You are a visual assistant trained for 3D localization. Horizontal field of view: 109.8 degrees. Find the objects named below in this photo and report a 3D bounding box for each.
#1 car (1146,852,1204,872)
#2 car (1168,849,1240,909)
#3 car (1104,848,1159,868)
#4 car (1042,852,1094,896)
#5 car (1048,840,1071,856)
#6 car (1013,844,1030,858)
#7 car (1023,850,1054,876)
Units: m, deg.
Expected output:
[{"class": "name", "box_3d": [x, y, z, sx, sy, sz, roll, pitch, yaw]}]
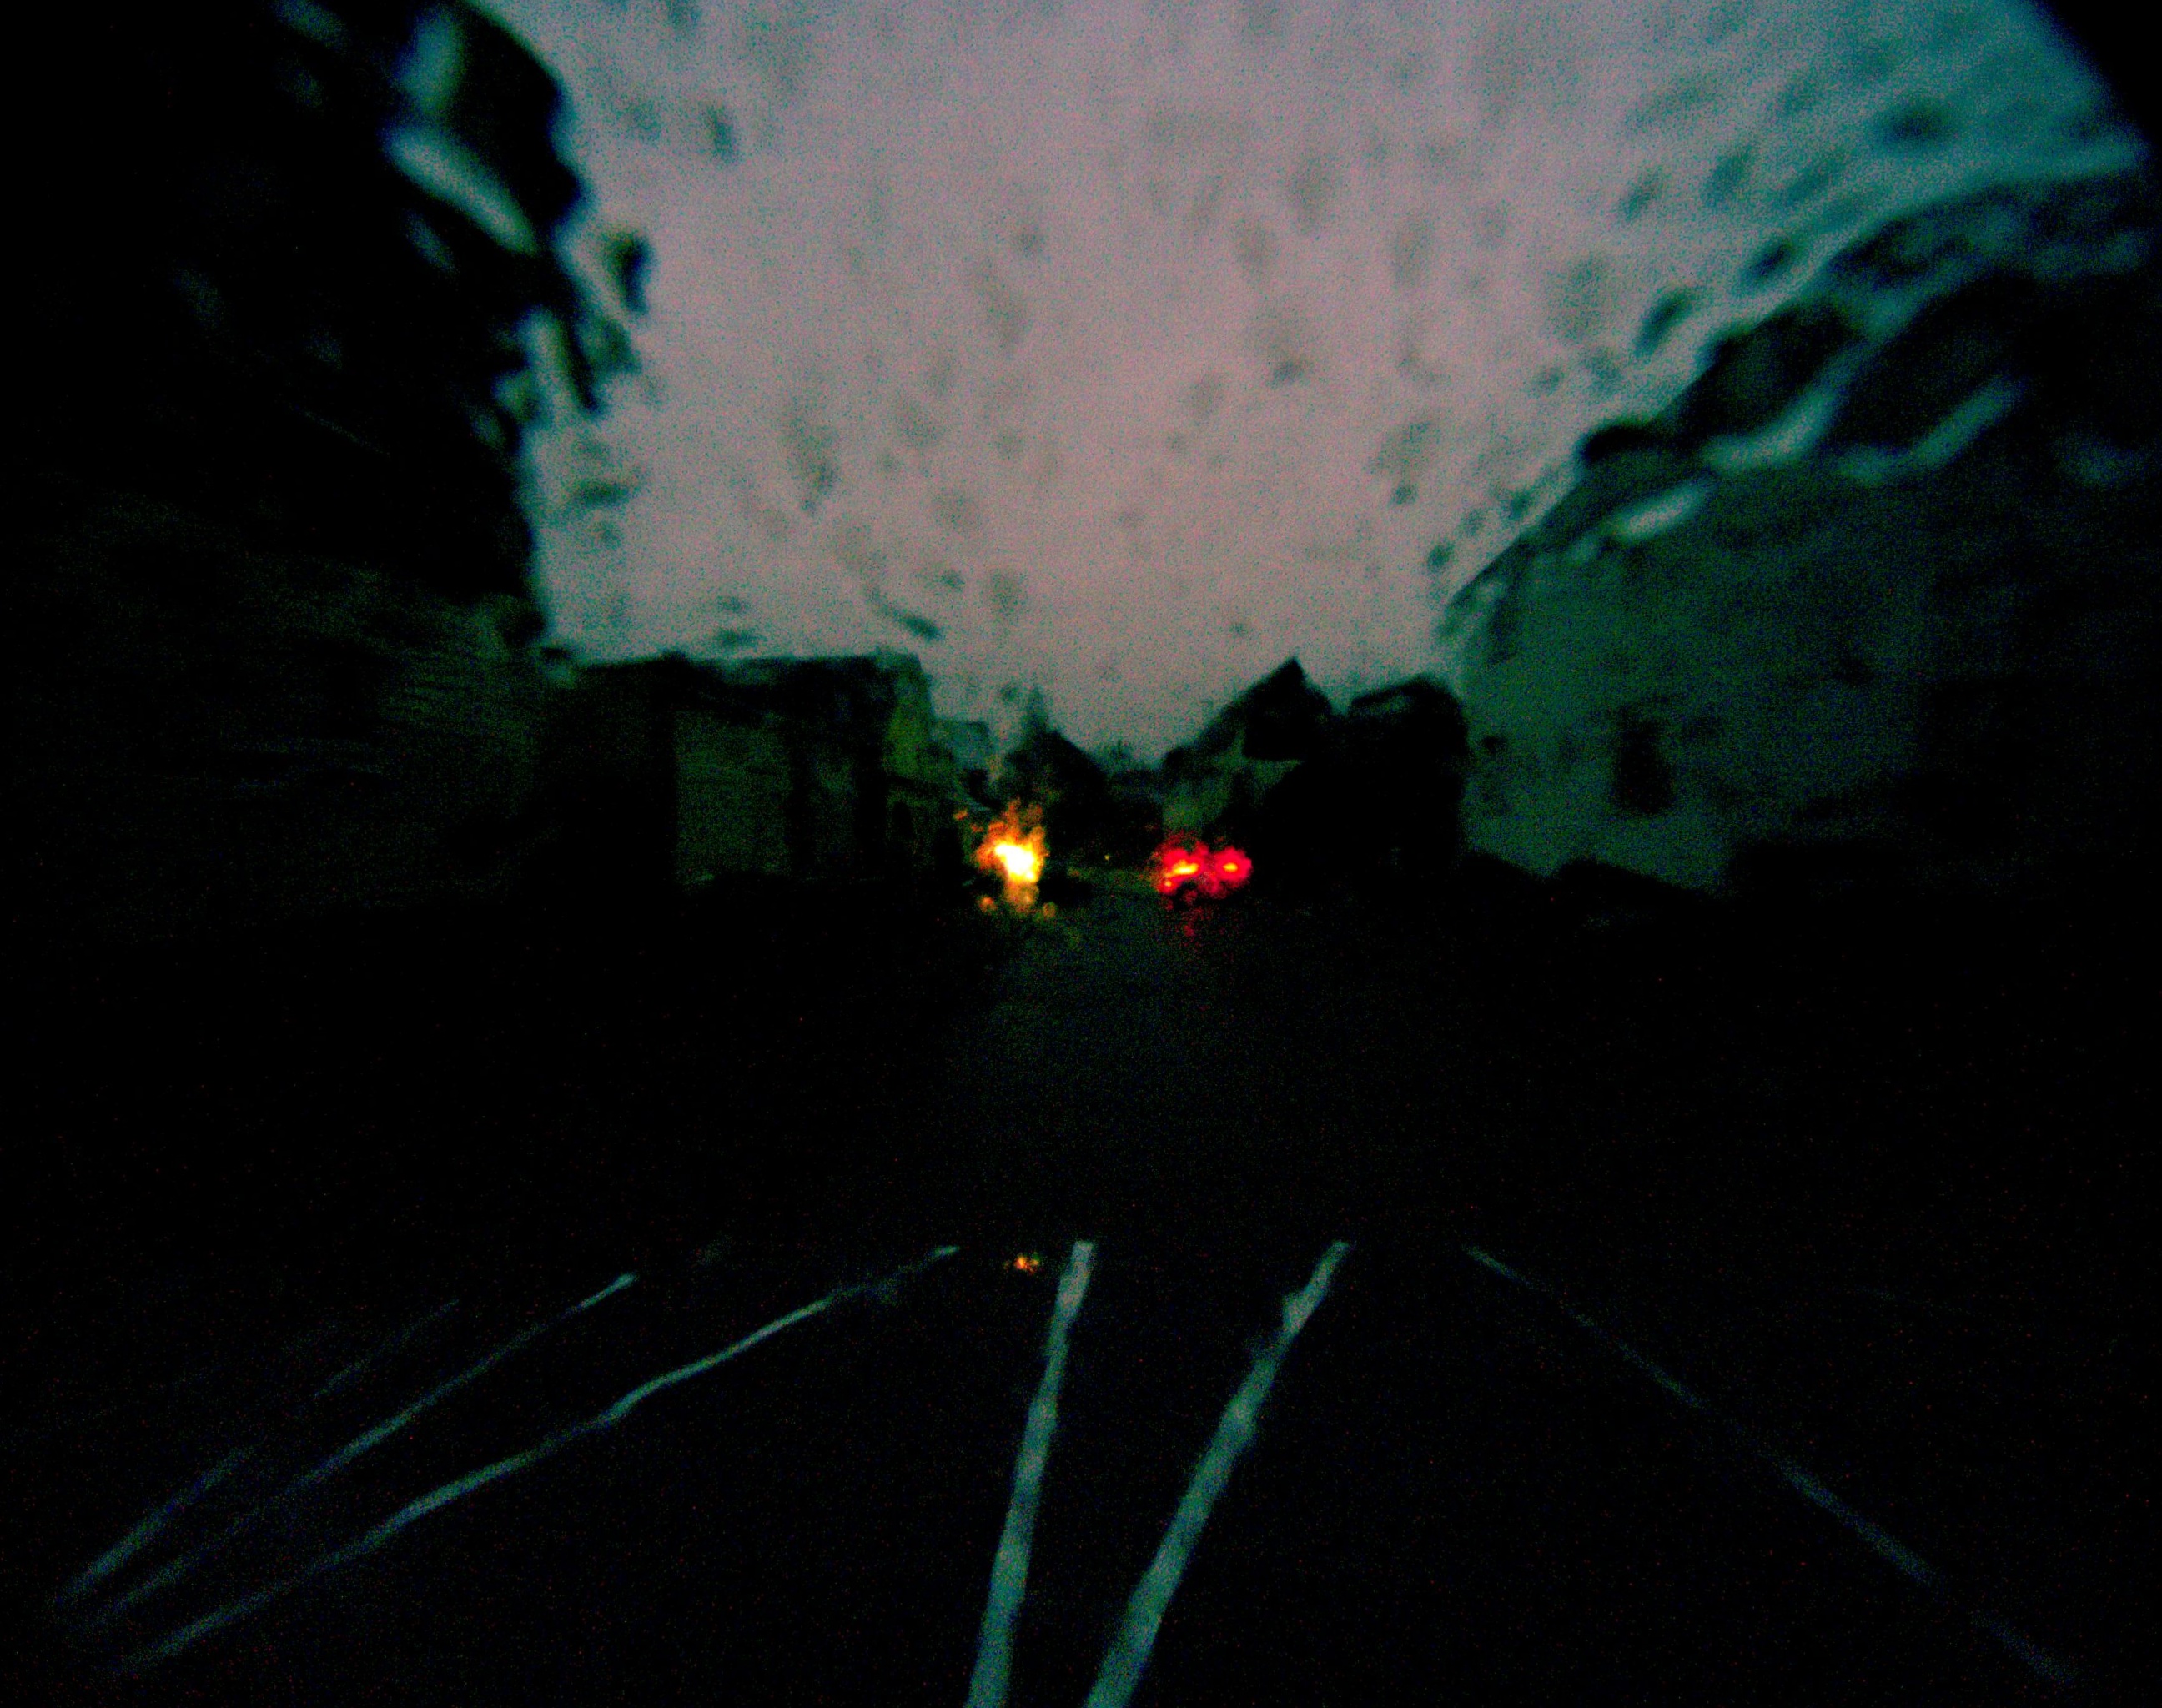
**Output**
[{"class": "car", "box_3d": [7.081, 0.595, 57.551, 2.003, 1.417, 4.226, -3, 2, -36]}, {"class": "car", "box_3d": [3.643, 0.685, 23.122, 1.762, 1.572, 4.000, -1, 1, 4]}, {"class": "car", "box_3d": [4.330, 0.316, 65.410, 4.480, 1.570, 1.999, -2, 2, -5]}, {"class": "car", "box_3d": [-0.587, 0.691, 29.212, 1.731, 1.423, 4.795, -2, 1, -4]}, {"class": "car", "box_3d": [-2.344, -0.639, 82.402, 2.000, 1.620, 3.996, -2, 1, -7]}, {"class": "car", "box_3d": [-6.884, -0.381, 88.222, 1.765, 1.489, 3.998, -3, 2, -3]}, {"class": "car", "box_3d": [-3.497, 0.699, 61.856, 2.000, 2.002, 3.995, -2, 1, -11]}]
